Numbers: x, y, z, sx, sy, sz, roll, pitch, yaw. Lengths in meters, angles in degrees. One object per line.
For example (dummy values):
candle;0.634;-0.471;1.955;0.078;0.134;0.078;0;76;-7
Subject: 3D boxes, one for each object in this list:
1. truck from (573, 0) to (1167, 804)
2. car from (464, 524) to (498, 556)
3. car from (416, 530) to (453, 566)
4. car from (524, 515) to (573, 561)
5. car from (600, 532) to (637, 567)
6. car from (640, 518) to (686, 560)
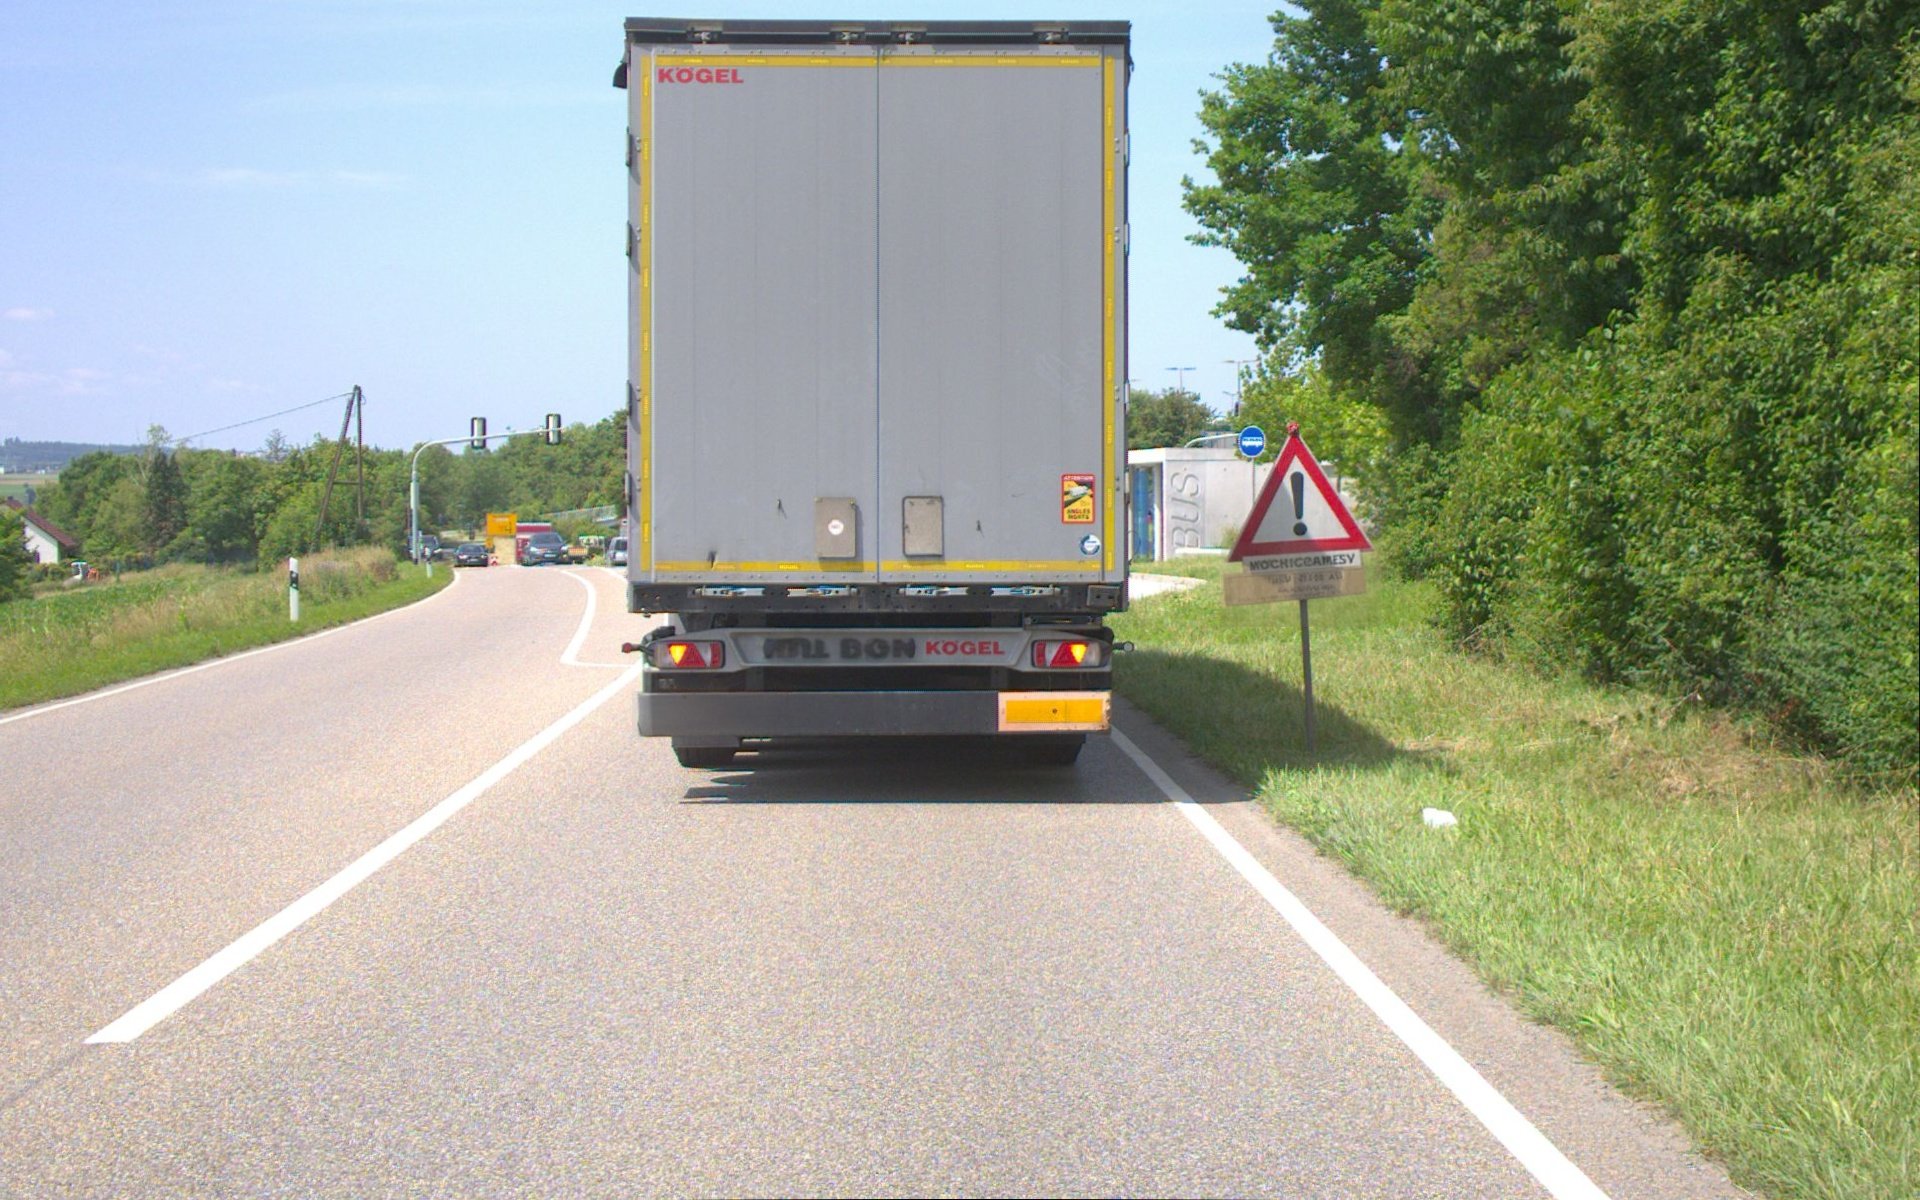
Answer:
truck;-0.607;-1.327;21.358;2.907;4.394;8.861;0;2;-2
car;-29.465;-3.719;211.539;1.993;1.809;4.297;-3;2;-8
car;-30.958;-3.082;202.682;1.993;1.971;5.280;-3;2;-8
car;-18.518;-2.797;154.939;1.993;1.943;4.504;-3;1;-5
car;-18.971;-2.814;190.942;1.892;1.770;4.387;-3;2;-5
car;-14.859;-3.065;172.228;2.171;2.006;4.527;-3;2;-5
